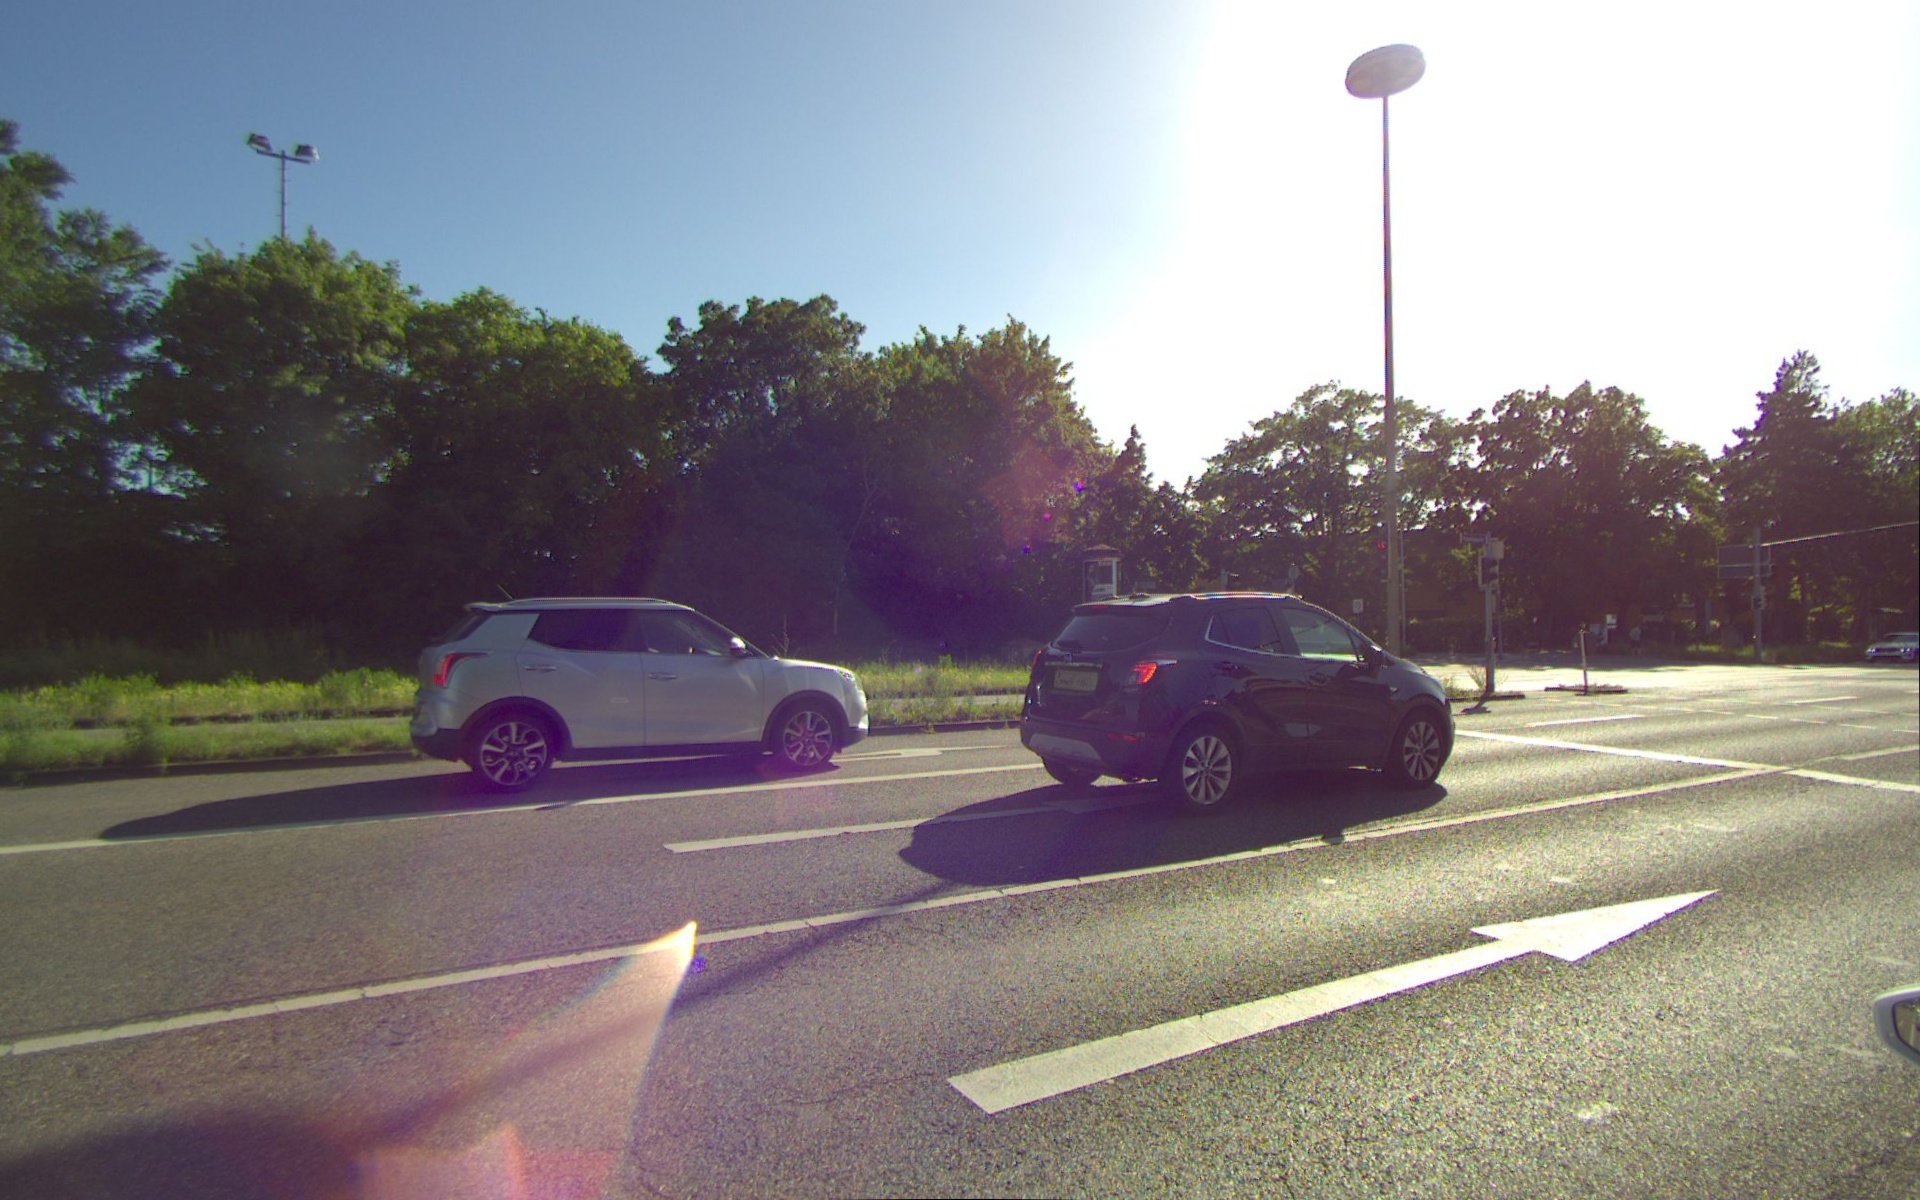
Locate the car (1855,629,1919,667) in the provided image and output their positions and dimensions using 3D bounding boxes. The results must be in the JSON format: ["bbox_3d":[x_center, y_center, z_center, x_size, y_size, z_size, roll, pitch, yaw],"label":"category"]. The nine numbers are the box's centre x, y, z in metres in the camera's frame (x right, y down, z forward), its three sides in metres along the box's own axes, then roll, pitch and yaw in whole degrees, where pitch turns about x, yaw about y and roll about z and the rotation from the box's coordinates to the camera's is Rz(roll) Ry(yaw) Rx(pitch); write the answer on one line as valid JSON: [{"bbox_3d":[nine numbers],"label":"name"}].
[{"bbox_3d":[45.379,2.317,48.620,4.210,1.706,1.855,2,0,-30],"label":"car"}]

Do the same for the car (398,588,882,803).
[{"bbox_3d":[-2.940,0.785,9.442,4.058,1.631,1.776,1,-2,-30],"label":"car"}]

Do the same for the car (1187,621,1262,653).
[{"bbox_3d":[13.495,1.876,51.448,1.841,1.442,3.914,2,0,-19],"label":"car"}]

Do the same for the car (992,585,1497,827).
[{"bbox_3d":[2.568,0.781,8.718,4.366,1.653,1.688,1,-2,-30],"label":"car"}]

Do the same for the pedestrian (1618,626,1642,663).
[{"bbox_3d":[33.750,2.225,50.620,0.542,1.859,0.843,1,-2,-26],"label":"pedestrian"}]
